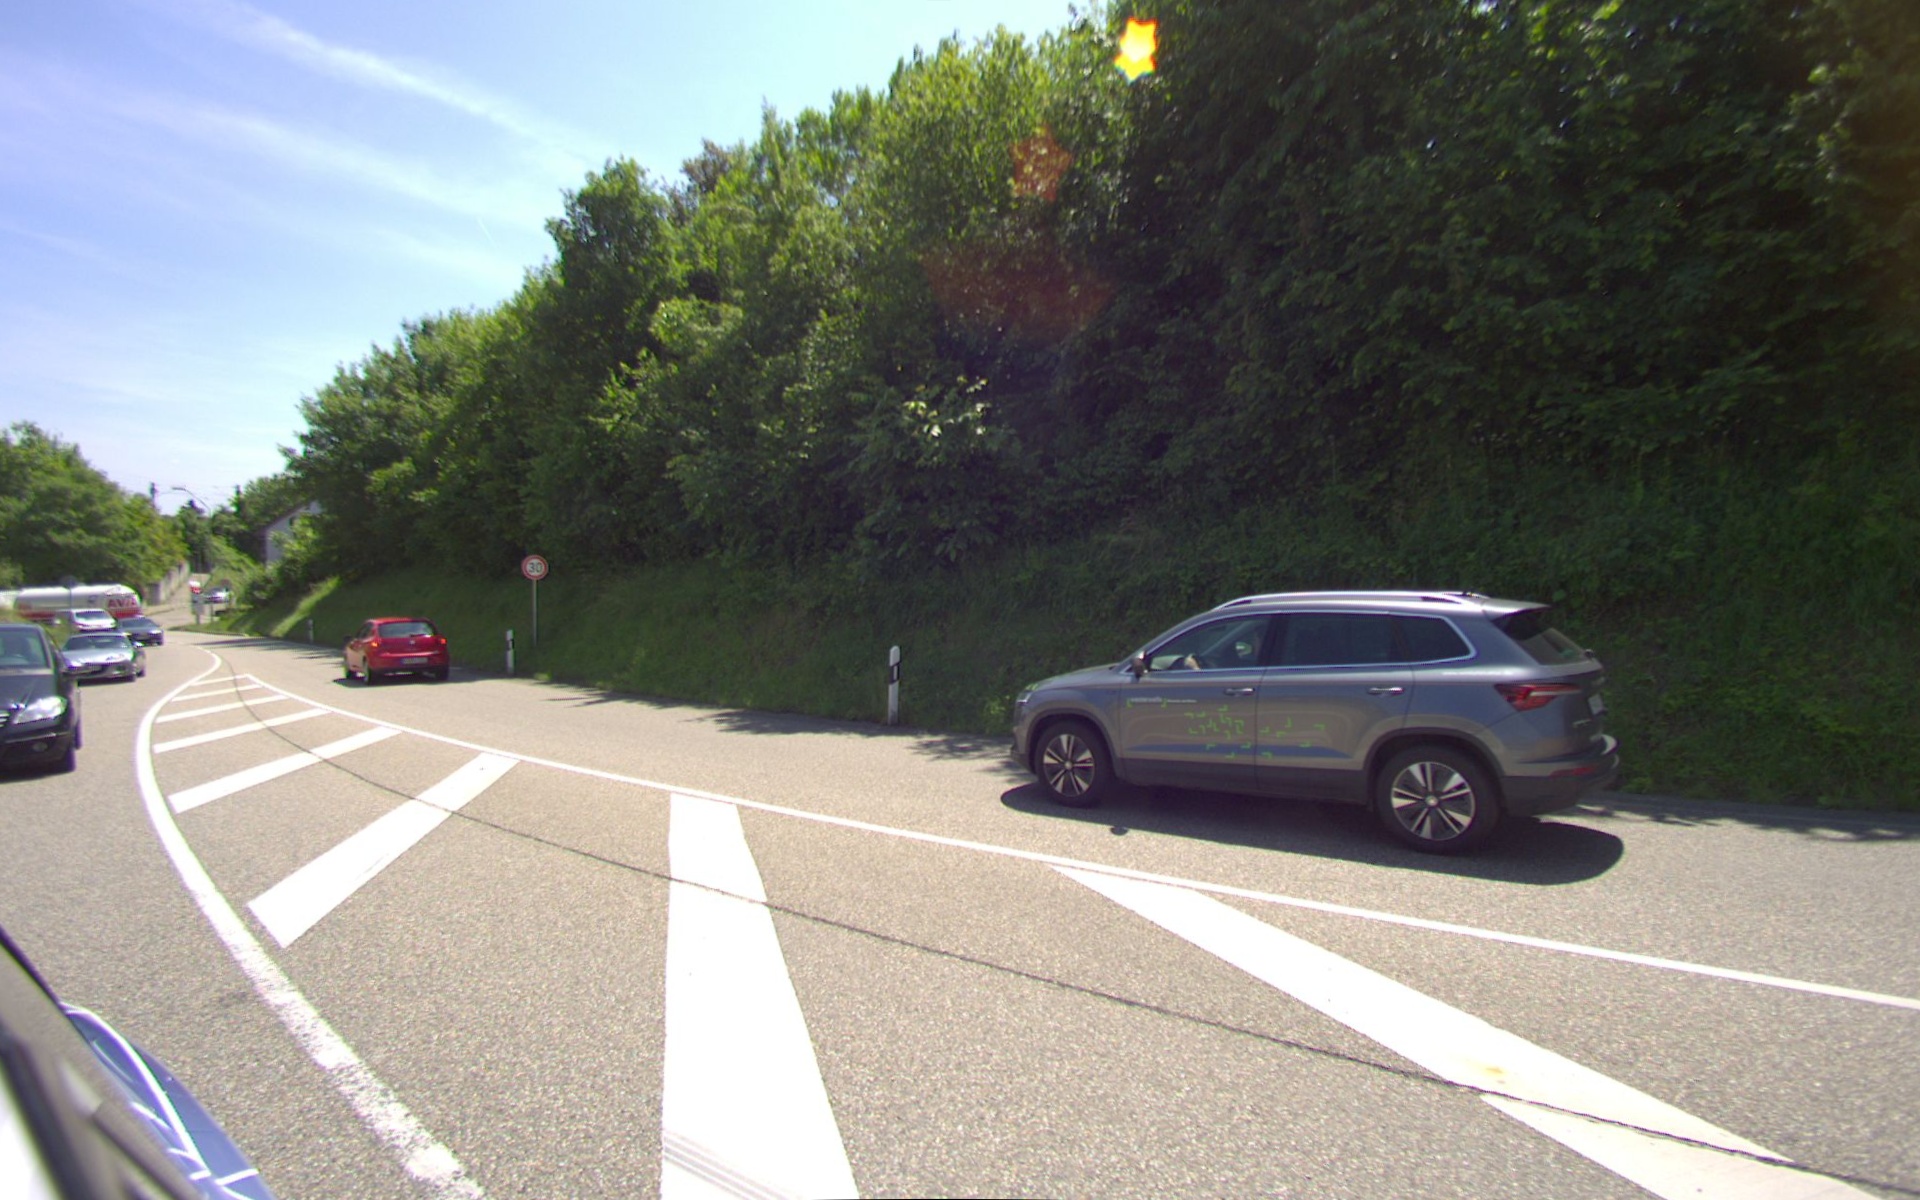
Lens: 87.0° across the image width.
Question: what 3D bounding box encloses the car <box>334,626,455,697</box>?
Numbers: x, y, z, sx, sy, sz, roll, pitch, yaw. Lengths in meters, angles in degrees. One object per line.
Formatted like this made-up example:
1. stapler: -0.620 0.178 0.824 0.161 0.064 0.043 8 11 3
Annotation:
1. car: -13.188 1.362 23.495 1.728 1.459 4.006 0 -1 -40

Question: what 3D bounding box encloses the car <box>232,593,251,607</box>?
1. car: -85.326 -0.004 120.145 1.722 1.399 4.011 -4 6 -35

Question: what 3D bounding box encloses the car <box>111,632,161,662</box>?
1. car: -40.483 2.274 49.681 1.729 1.298 4.151 -3 1 -41

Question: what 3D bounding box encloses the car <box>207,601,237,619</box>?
1. car: -77.024 1.009 105.662 1.966 1.517 4.013 -3 5 -30

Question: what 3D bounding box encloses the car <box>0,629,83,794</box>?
1. car: -10.845 1.163 11.060 1.768 1.592 3.806 0 -3 -39

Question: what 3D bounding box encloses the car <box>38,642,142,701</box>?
1. car: -21.900 1.743 25.581 1.621 1.332 3.447 1 -2 -35

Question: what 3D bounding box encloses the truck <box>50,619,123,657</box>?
1. truck: -50.880 2.220 58.926 5.234 2.028 2.048 -2 1 36

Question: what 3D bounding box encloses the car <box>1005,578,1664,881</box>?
1. car: 2.543 0.746 7.396 4.173 1.617 1.774 -2 -2 38

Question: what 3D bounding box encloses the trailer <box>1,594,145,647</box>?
1. trailer: -60.564 1.423 69.038 11.065 3.398 2.623 -1 1 22

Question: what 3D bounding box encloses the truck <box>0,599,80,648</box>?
1. truck: -65.563 1.667 70.971 7.012 3.194 2.618 -1 1 19
